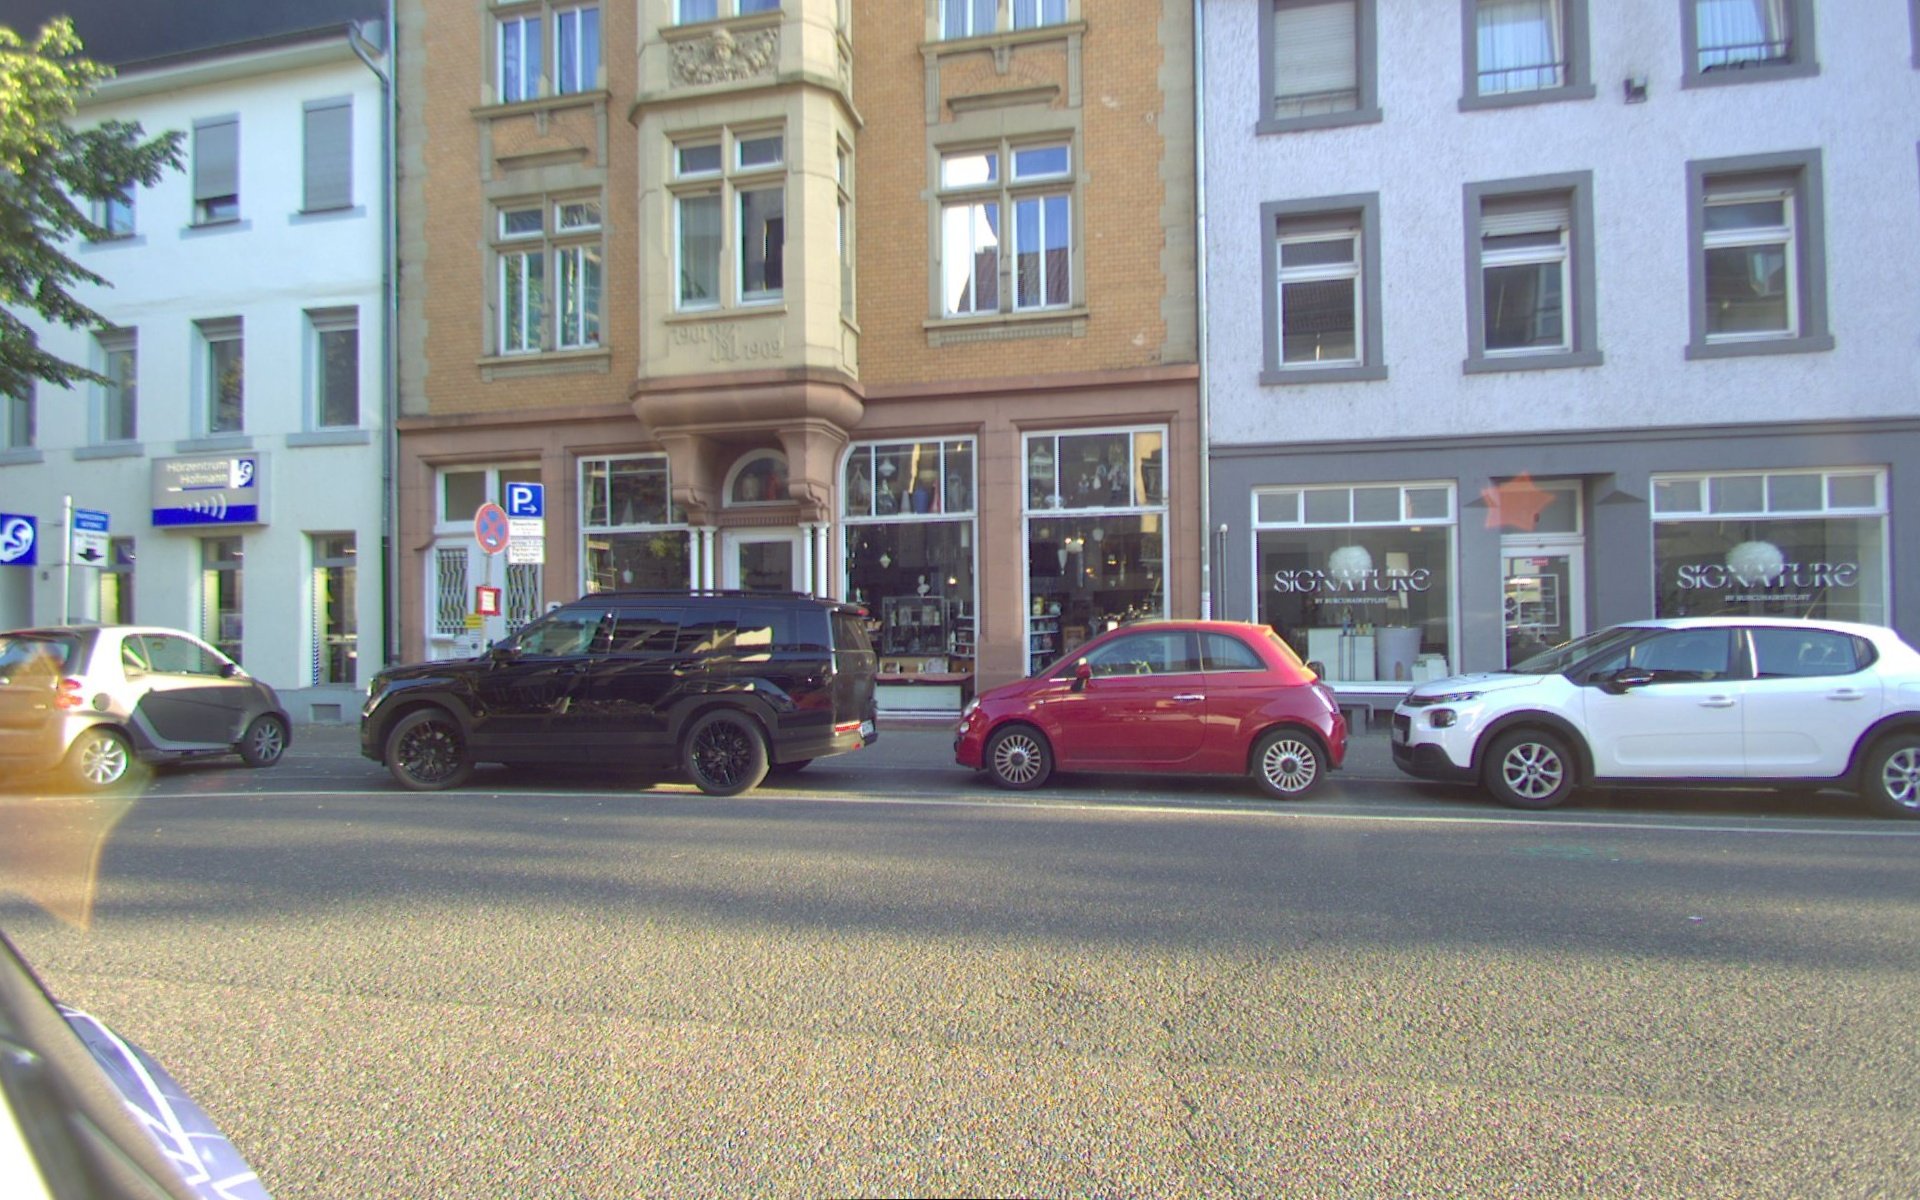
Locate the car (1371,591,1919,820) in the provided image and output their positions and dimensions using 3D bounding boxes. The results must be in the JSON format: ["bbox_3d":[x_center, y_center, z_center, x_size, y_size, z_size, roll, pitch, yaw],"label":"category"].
[{"bbox_3d":[5.577,0.805,8.168,3.895,1.585,1.660,-1,-3,13],"label":"car"}]

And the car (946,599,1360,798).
[{"bbox_3d":[1.702,0.848,9.228,3.388,1.582,1.524,-1,-3,14],"label":"car"}]

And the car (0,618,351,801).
[{"bbox_3d":[-8.379,1.014,10.651,1.491,1.588,3.470,-1,-2,10],"label":"car"}]

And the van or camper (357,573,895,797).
[{"bbox_3d":[-2.953,0.764,9.471,4.407,1.821,1.891,-1,-2,7],"label":"van or camper"}]

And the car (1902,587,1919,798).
[{"bbox_3d":[9.815,0.658,7.012,4.413,1.711,1.793,-1,-4,12],"label":"car"}]
